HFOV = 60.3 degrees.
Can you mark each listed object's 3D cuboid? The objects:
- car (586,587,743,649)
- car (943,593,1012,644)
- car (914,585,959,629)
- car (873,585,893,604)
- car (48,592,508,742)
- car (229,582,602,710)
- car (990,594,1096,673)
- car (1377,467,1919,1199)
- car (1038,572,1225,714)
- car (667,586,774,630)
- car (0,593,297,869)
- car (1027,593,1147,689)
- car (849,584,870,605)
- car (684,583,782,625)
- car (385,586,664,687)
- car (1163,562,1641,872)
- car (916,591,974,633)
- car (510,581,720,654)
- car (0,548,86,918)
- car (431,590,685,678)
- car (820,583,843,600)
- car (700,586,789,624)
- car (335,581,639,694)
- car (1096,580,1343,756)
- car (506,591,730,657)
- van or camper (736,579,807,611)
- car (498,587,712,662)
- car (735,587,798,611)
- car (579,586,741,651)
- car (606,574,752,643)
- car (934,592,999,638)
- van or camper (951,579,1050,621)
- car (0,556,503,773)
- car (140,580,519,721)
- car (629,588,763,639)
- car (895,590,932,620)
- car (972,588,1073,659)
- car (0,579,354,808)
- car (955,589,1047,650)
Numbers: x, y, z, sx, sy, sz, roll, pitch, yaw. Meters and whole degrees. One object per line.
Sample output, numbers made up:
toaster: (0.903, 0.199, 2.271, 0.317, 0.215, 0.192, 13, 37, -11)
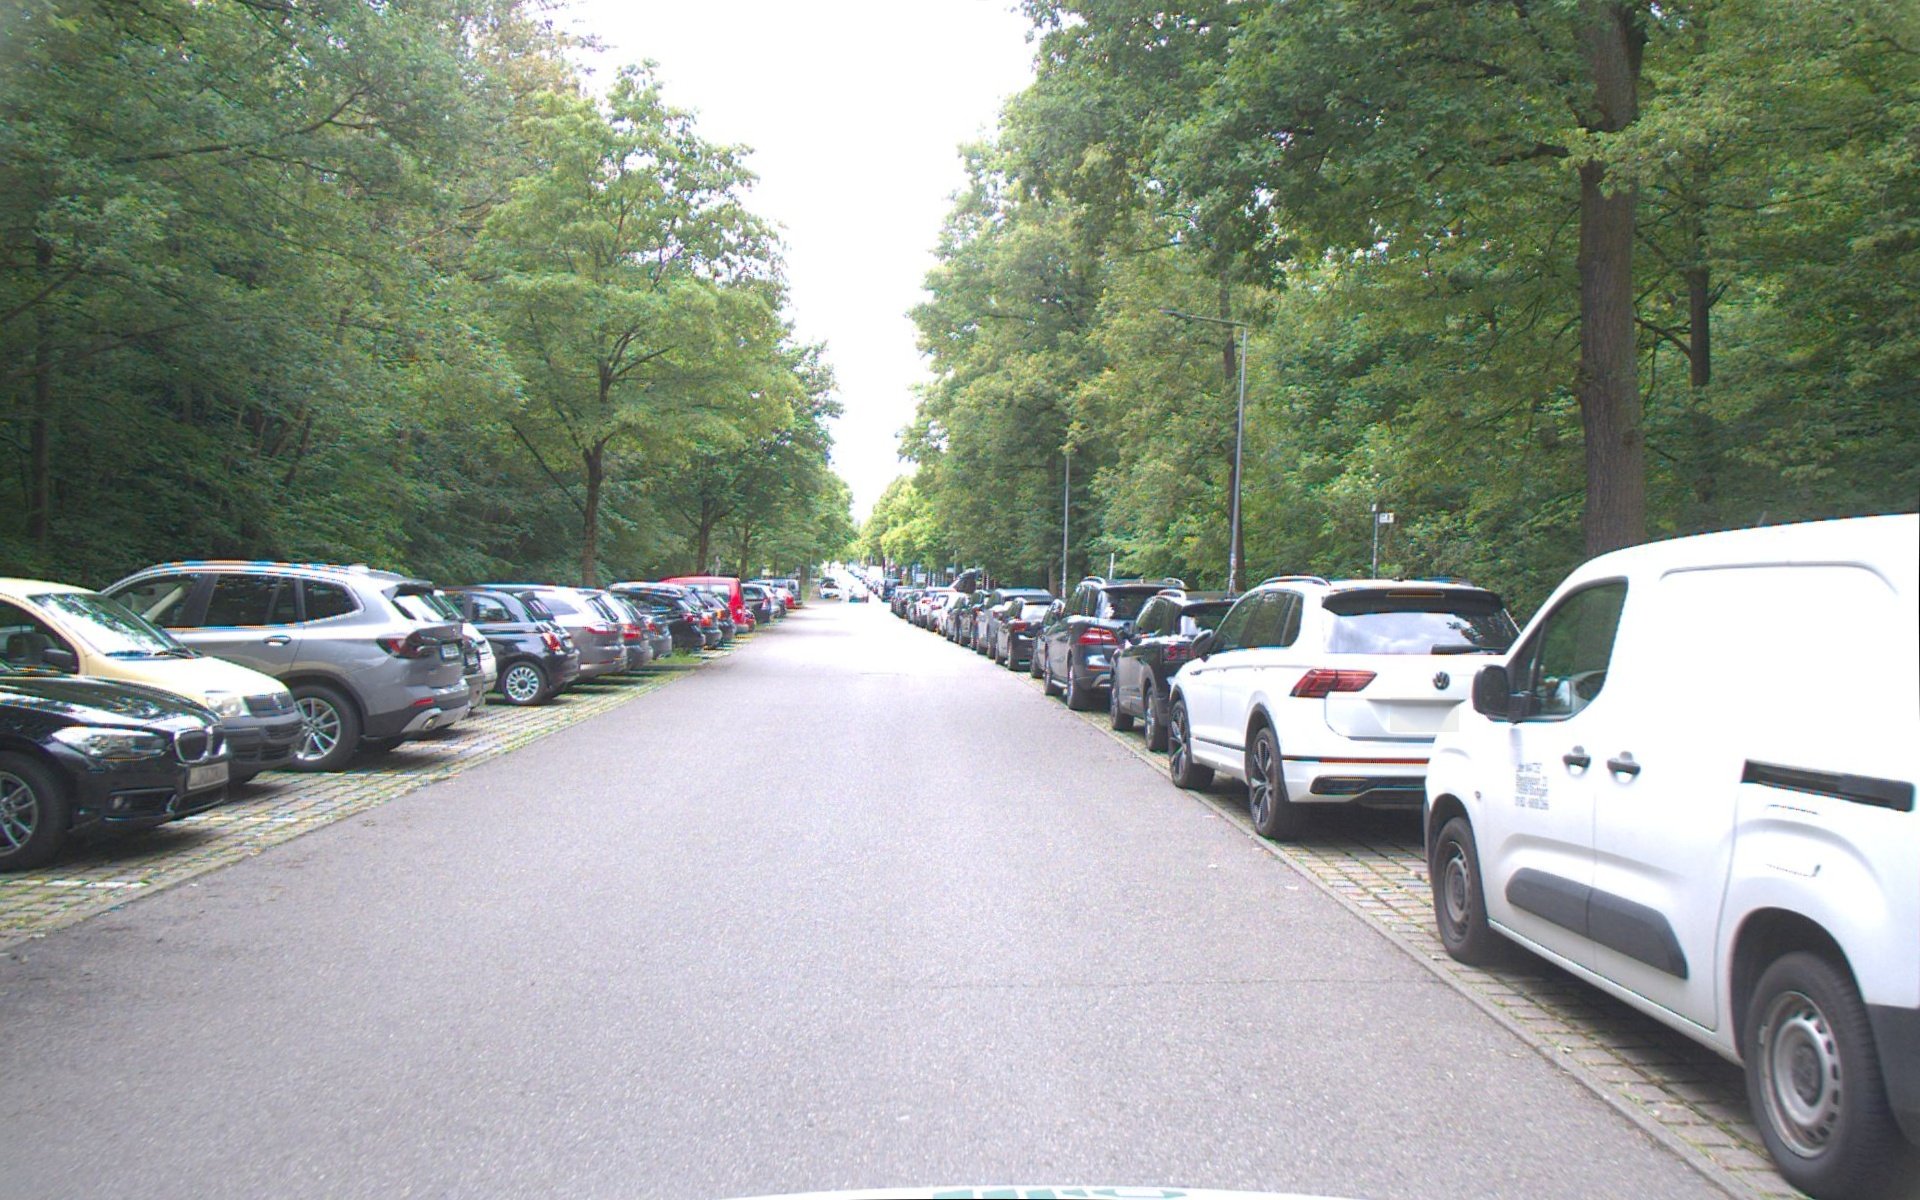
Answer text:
car: (-7.857, 0.464, 44.314, 3.908, 1.557, 1.998, 1, 0, -4)
car: (0.495, 0.538, 50.753, 1.634, 1.470, 3.809, 1, 0, -7)
car: (-0.999, 0.269, 69.253, 1.677, 1.758, 3.997, 1, 0, -3)
car: (-6.701, -0.507, 143.453, 1.596, 1.440, 3.409, 2, 3, -5)
car: (-6.770, 0.644, 16.775, 3.901, 1.333, 1.808, 2, 1, -5)
car: (-7.117, 0.585, 21.970, 4.312, 1.514, 1.837, 2, 0, -2)
car: (1.649, 0.648, 34.249, 1.605, 1.503, 4.147, 1, 0, -5)
car: (3.039, 0.589, 5.880, 1.710, 1.811, 4.549, 1, 0, -3)
car: (2.299, 0.533, 23.539, 1.852, 1.777, 4.945, 1, 0, -3)
car: (-8.869, 0.293, 61.522, 3.756, 1.563, 1.870, 1, 0, -3)
car: (-6.105, 0.653, 9.415, 3.908, 1.388, 1.785, 2, 0, -3)
car: (2.171, 0.667, 29.233, 1.567, 1.530, 4.087, 1, 0, -3)
car: (-8.419, -0.467, 137.839, 1.657, 1.440, 3.152, 2, 3, -5)
car: (-9.427, 0.162, 68.910, 3.907, 1.669, 1.733, 1, 0, -3)
car: (-6.935, 0.570, 26.714, 4.028, 1.506, 1.995, 1, 0, -4)
car: (2.748, 0.638, 11.519, 1.750, 1.691, 4.714, 1, 0, -4)
car: (-0.605, 0.450, 63.567, 1.689, 1.520, 3.766, 1, 0, -9)
car: (-8.140, 0.413, 39.384, 4.639, 1.623, 1.958, 1, 0, -5)
car: (-6.370, 0.544, 6.846, 4.424, 1.612, 1.926, 1, 0, -3)
car: (-7.065, 0.581, 29.409, 4.026, 1.456, 1.963, 1, 0, -2)
car: (-10.914, -0.706, 140.602, 1.704, 1.182, 3.410, 2, 3, -2)
car: (-9.917, 0.236, 76.328, 3.907, 1.669, 2.008, 1, 0, -3)
car: (-6.877, 0.531, 24.446, 4.010, 1.550, 1.927, 1, 0, -6)
car: (2.651, 0.634, 17.940, 1.716, 1.635, 4.443, 1, 0, -3)
car: (-7.515, 0.515, 36.717, 4.639, 1.367, 1.985, 1, 0, -5)
van or camper: (-12.525, -0.323, 109.758, 4.405, 1.900, 1.910, 1, 3, -19)
car: (-7.305, 0.498, 34.376, 4.215, 1.474, 1.753, 1, 0, -9)
car: (-11.598, -0.051, 98.977, 3.519, 1.385, 1.820, 1, 0, -16)
car: (-7.544, 0.467, 41.885, 3.912, 1.557, 1.997, 1, 0, -8)
car: (-7.907, 0.243, 46.861, 3.910, 1.848, 2.112, 1, 0, -7)
car: (0.193, 0.509, 57.906, 1.899, 1.501, 3.988, 1, 0, -5)
van or camper: (3.179, -0.009, 129.549, 7.211, 2.938, 2.637, 1, 3, -19)
car: (-6.317, 0.511, 14.298, 4.139, 1.661, 2.028, 2, 0, -2)
car: (-7.266, 0.567, 19.354, 3.789, 1.476, 1.659, 2, 1, -5)
car: (-8.199, 0.415, 51.698, 3.908, 1.500, 2.114, 1, 0, -4)
car: (-2.521, 0.257, 88.716, 1.882, 1.547, 3.885, 1, 0, -3)
car: (1.450, 0.520, 40.097, 1.939, 1.564, 4.618, 1, 0, -4)
car: (-6.699, 0.601, 11.945, 3.941, 1.490, 1.798, 1, 0, -1)
car: (1.076, 0.507, 45.719, 1.940, 1.564, 4.160, 1, 0, -7)
